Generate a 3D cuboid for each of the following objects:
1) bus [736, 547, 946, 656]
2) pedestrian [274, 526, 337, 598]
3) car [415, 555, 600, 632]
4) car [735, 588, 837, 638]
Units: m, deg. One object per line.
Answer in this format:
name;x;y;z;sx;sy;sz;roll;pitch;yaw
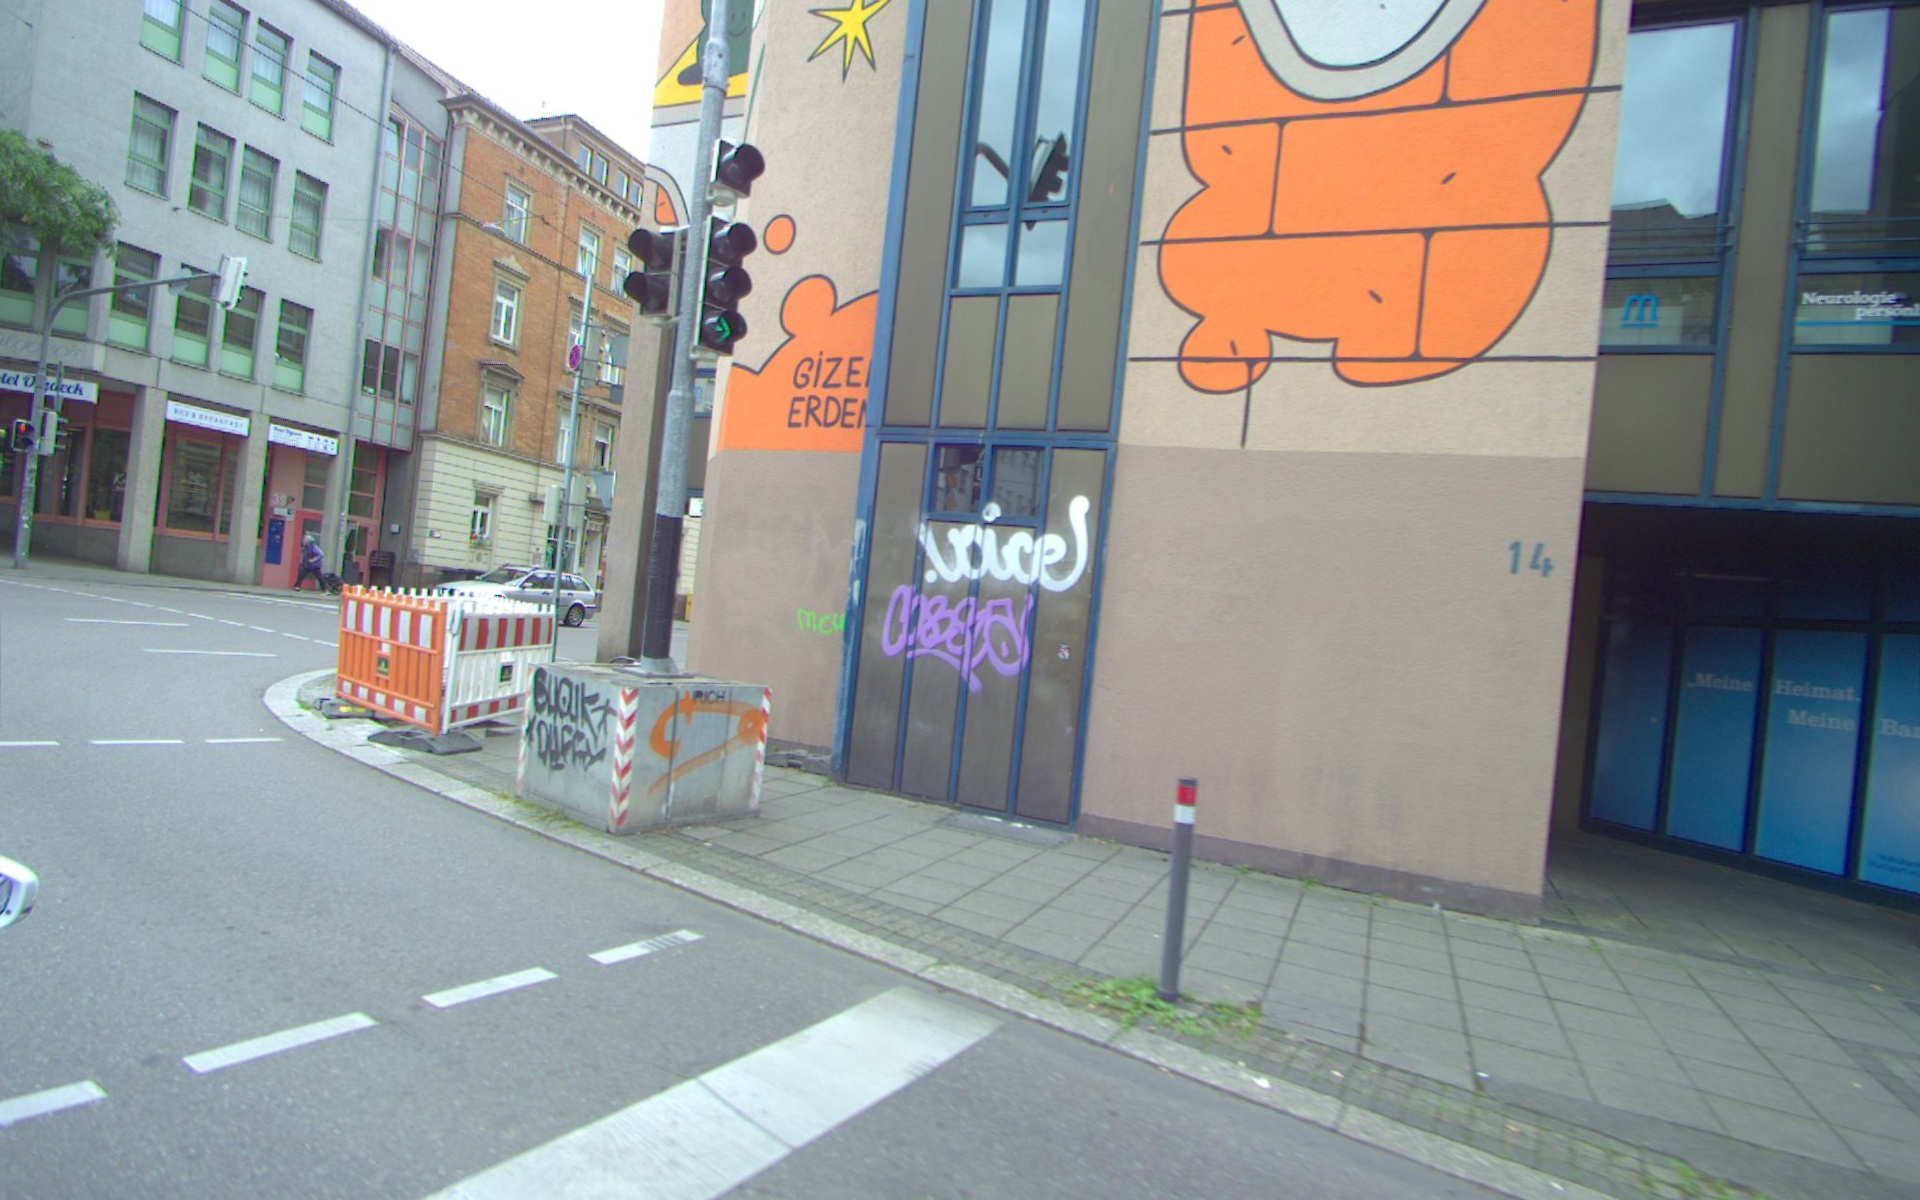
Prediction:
bus;-4.079;0.338;38.736;2.821;3.078;11.598;8;-1;20
pedestrian;-17.392;-1.008;26.772;1.112;1.733;0.851;8;0;-25
car;-11.373;-0.098;25.611;1.819;1.445;4.164;8;-1;19
car;-6.737;0.557;39.450;1.963;1.507;4.272;8;-1;19
